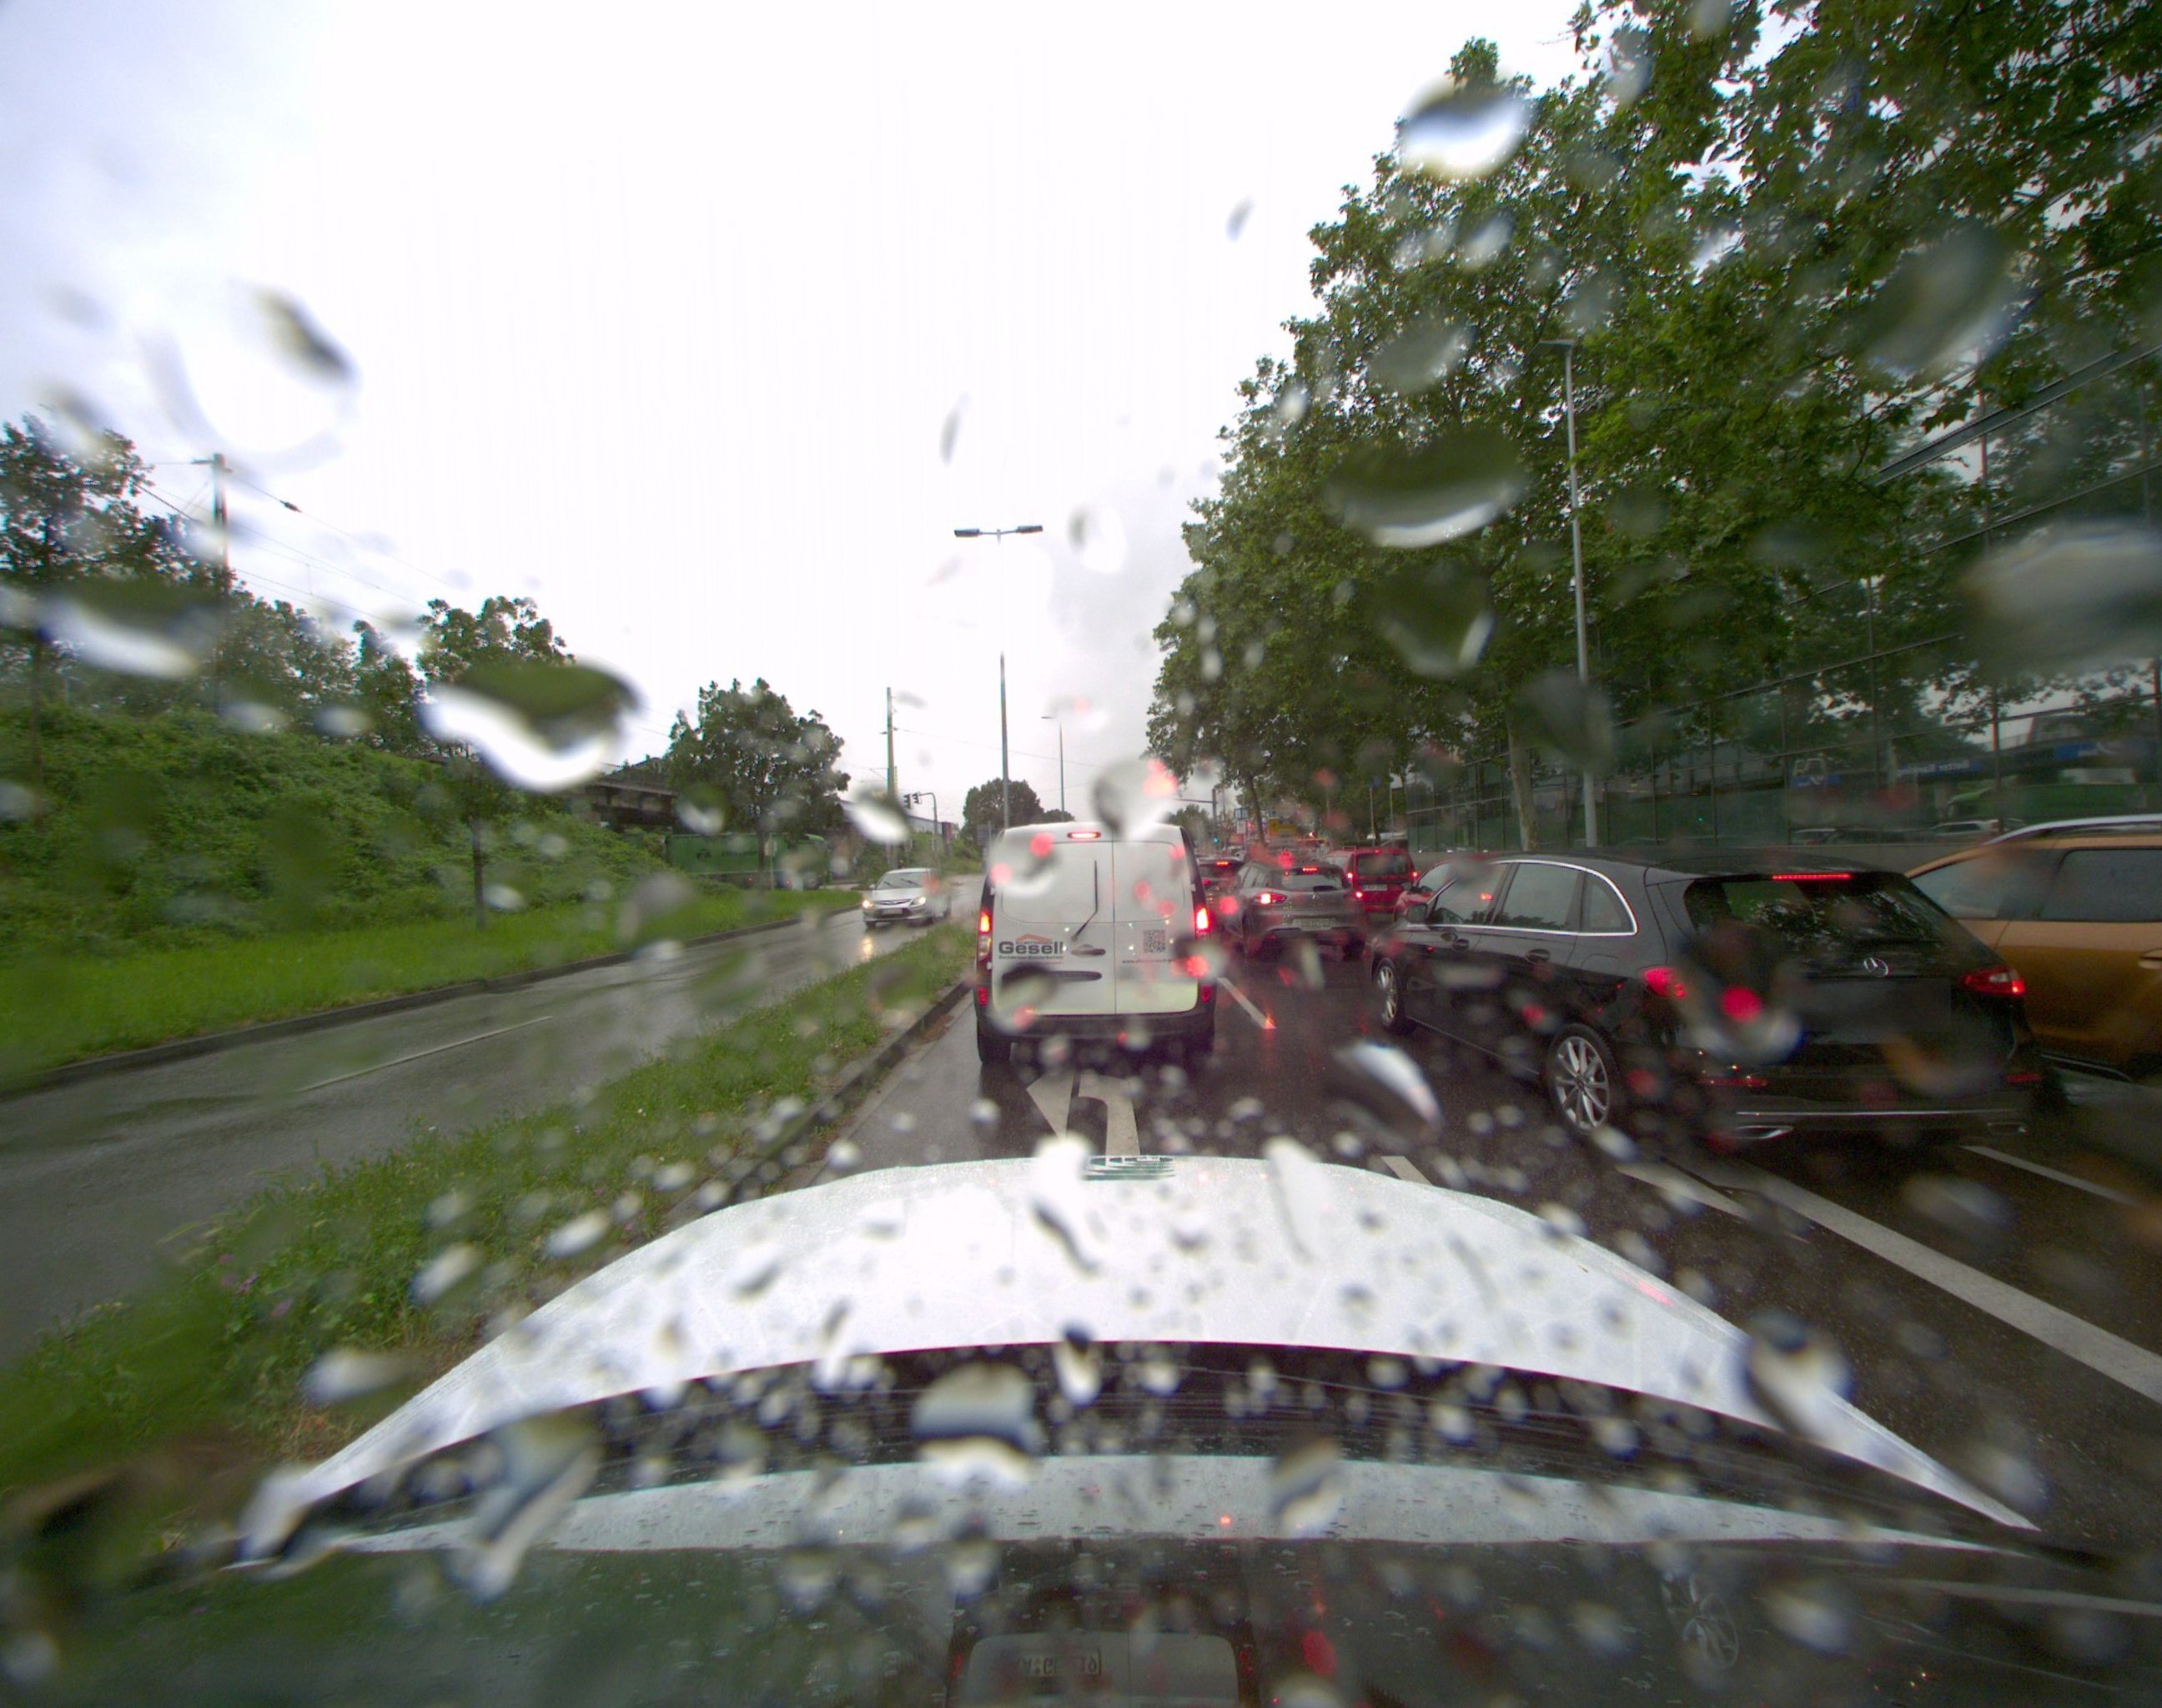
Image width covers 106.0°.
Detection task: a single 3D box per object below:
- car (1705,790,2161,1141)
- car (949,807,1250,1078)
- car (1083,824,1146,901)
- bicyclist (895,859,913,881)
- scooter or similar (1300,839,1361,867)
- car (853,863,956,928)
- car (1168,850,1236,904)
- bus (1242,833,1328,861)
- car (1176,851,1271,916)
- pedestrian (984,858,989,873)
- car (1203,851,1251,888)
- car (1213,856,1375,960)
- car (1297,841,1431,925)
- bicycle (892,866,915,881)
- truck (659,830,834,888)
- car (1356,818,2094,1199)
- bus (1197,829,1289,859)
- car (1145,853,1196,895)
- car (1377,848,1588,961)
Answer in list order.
[{"bbox_3d":[6.052,0.529,4.796,1.668,1.685,4.149,0,1,2],"label":"car"},{"bbox_3d":[0.195,0.589,7.769,1.986,1.776,4.587,-1,0,2],"label":"car"},{"bbox_3d":[1.088,0.255,26.575,1.847,2.296,3.844,-1,0,2],"label":"car"},{"bbox_3d":[-12.187,1.091,55.961,1.045,1.450,0.723,-2,0,-23],"label":"bicyclist"},{"bbox_3d":[23.452,-0.084,76.682,1.905,2.446,5.257,-1,0,-39],"label":"scooter or similar"},{"bbox_3d":[-4.717,1.064,22.349,1.810,1.462,4.001,-4,0,1],"label":"car"},{"bbox_3d":[4.062,0.727,27.897,1.847,1.649,3.844,-1,0,2],"label":"car"},{"bbox_3d":[28.928,-0.965,115.673,11.983,3.423,2.472,-2,0,-13],"label":"bus"},{"bbox_3d":[3.504,0.679,20.678,1.847,1.460,3.844,-1,0,2],"label":"car"},{"bbox_3d":[-11.237,1.370,96.557,0.541,1.716,0.563,0,-1,-2],"label":"pedestrian"},{"bbox_3d":[6.918,0.712,38.920,1.702,1.650,3.844,-1,-1,2],"label":"car"},{"bbox_3d":[3.259,0.748,13.166,1.677,1.408,3.844,0,0,1],"label":"car"},{"bbox_3d":[6.312,0.615,18.675,1.704,1.694,4.273,0,-1,2],"label":"car"},{"bbox_3d":[-12.195,1.338,55.989,1.045,0.952,2.866,-2,0,-22],"label":"bicycle"},{"bbox_3d":[-21.307,0.217,52.333,10.105,3.371,2.322,-2,0,-35],"label":"truck"},{"bbox_3d":[3.378,0.646,5.446,1.741,1.554,4.091,-1,0,1],"label":"car"},{"bbox_3d":[21.895,-1.355,110.587,11.926,3.423,2.316,-2,0,1],"label":"bus"},{"bbox_3d":[3.810,0.825,35.175,1.847,1.650,3.844,-1,-1,2],"label":"car"},{"bbox_3d":[5.884,0.662,12.387,1.563,1.462,3.390,-1,0,1],"label":"car"}]
